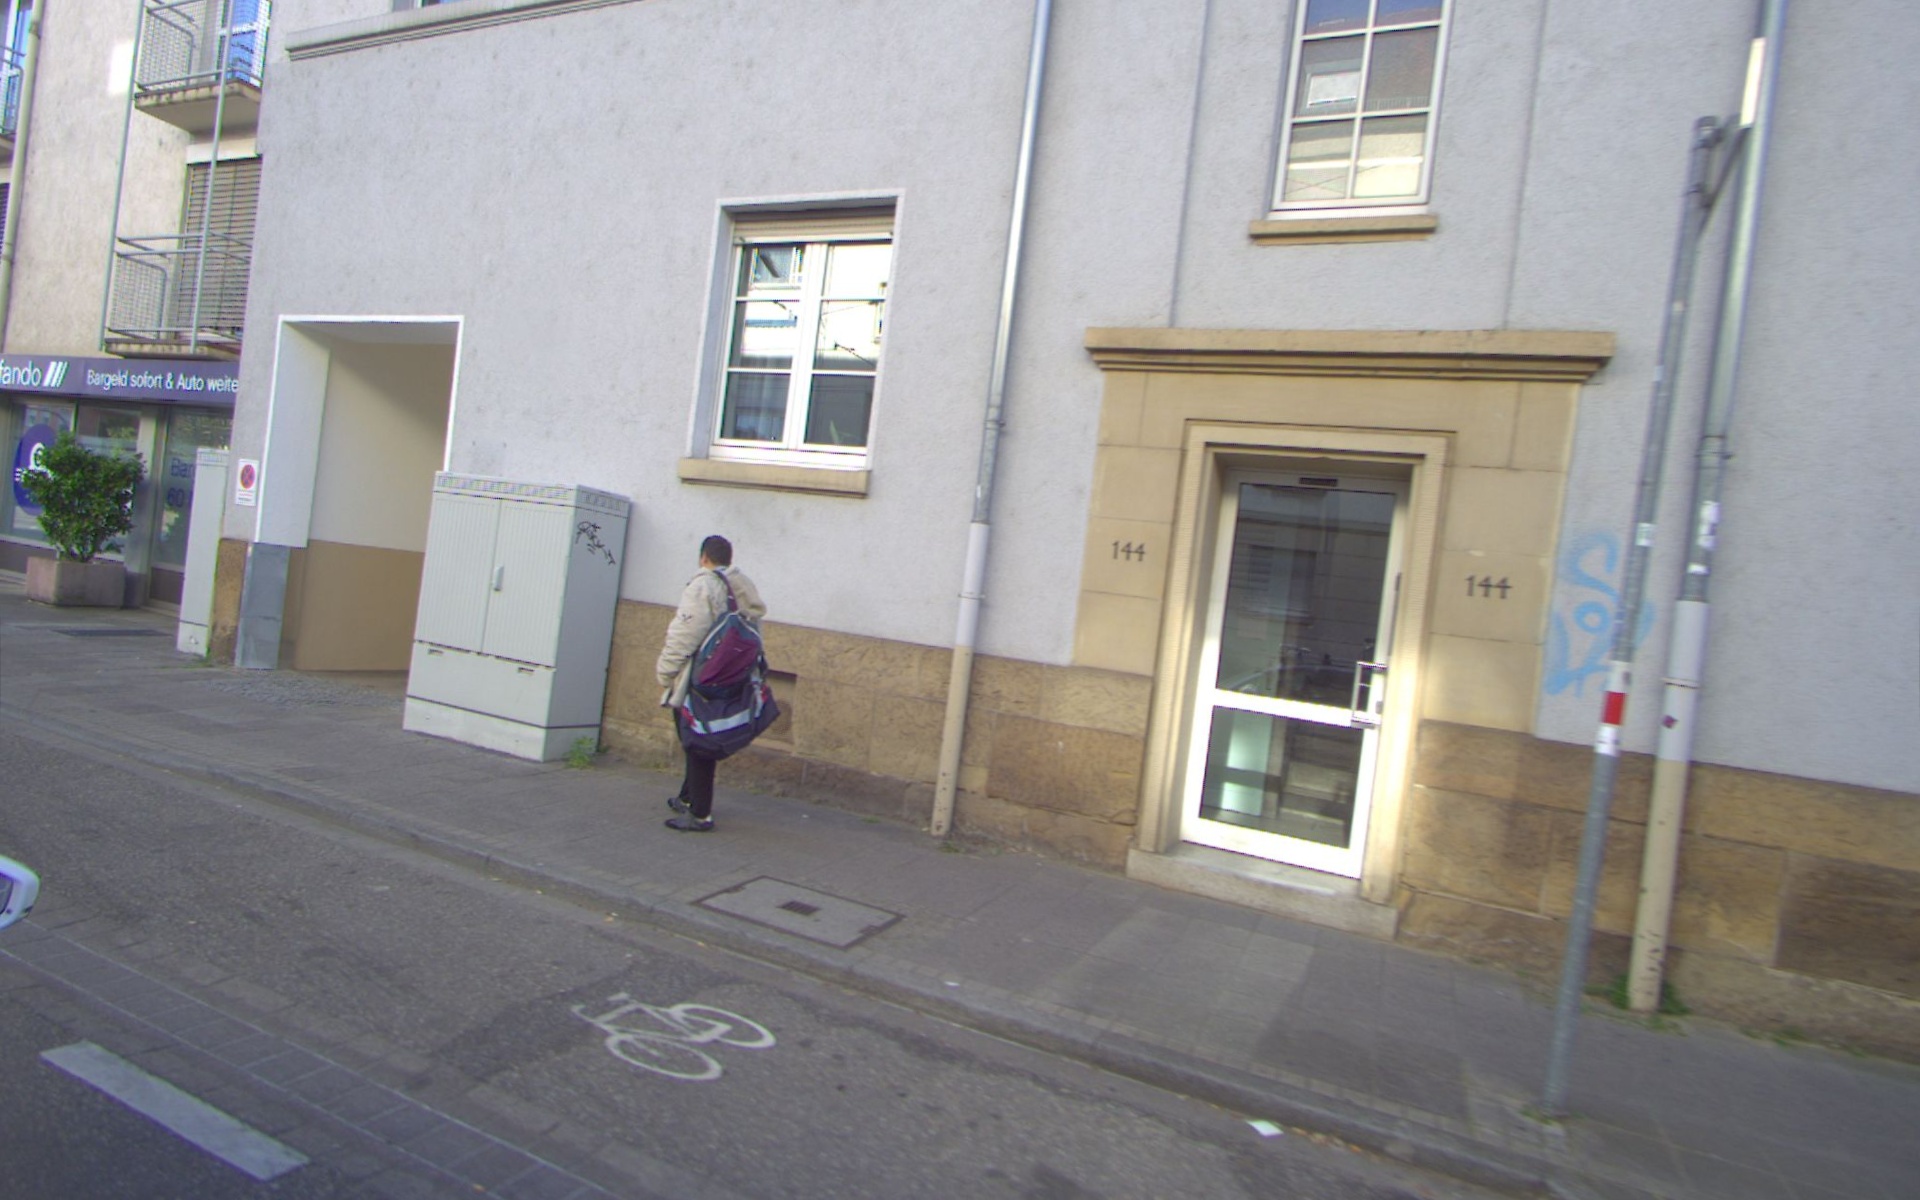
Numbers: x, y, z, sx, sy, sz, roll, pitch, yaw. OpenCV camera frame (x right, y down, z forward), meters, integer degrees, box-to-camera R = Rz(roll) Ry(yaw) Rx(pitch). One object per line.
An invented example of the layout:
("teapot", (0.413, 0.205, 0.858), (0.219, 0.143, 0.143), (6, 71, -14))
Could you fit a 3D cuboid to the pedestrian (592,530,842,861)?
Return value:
("pedestrian", (-1.296, 0.470, 5.445), (0.854, 1.554, 0.826), (7, 2, 25))
